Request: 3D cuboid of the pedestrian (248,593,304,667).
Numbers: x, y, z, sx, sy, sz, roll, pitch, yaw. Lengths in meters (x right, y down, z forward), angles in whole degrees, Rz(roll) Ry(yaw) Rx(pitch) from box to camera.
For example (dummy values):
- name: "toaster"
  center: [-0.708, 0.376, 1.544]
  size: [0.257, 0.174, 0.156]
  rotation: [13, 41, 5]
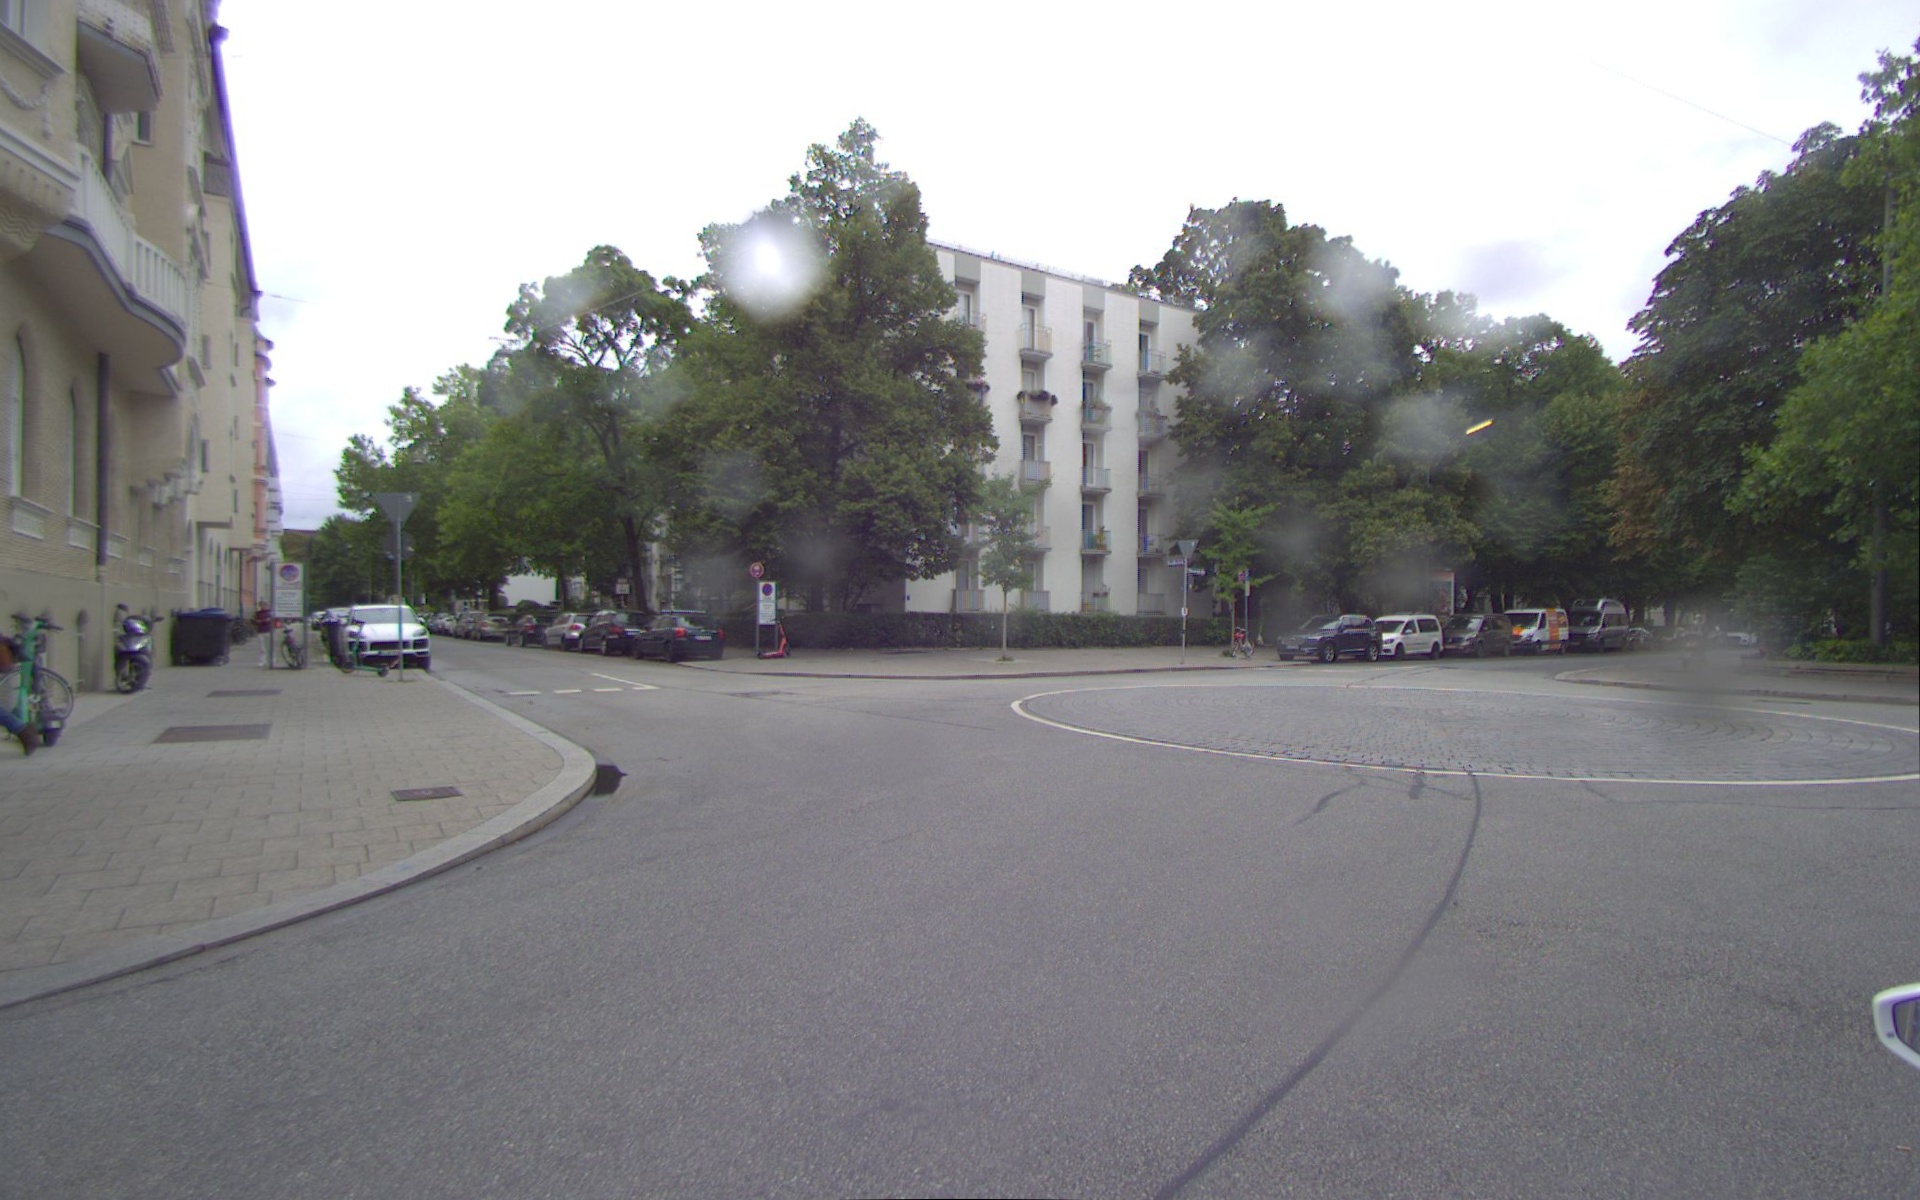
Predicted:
- name: "pedestrian"
  center: [-17.413, 0.740, 25.611]
  size: [1.120, 1.829, 1.260]
  rotation: [1, 0, -33]

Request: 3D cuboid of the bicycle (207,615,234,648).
- name: "bicycle"
  center: [-24.748, 1.039, 33.628]
  size: [0.618, 1.060, 2.194]
  rotation: [1, -1, -34]

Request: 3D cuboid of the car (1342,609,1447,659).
- name: "car"
  center: [17.664, 1.363, 40.727]
  size: [4.826, 1.920, 1.910]
  rotation: [1, -1, -39]

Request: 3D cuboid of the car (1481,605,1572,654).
- name: "car"
  center: [28.026, 1.452, 49.648]
  size: [5.149, 2.281, 2.095]
  rotation: [1, -1, -38]

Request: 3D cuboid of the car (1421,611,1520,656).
- name: "car"
  center: [22.808, 1.492, 44.831]
  size: [4.942, 1.883, 2.049]
  rotation: [1, -1, -38]

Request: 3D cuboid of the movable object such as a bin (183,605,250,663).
- name: "movable object such as a bin"
  center: [-19.613, 0.881, 26.549]
  size: [1.331, 1.477, 1.284]
  rotation: [1, -1, -33]

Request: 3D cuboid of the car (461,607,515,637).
- name: "car"
  center: [-24.780, 1.138, 52.723]
  size: [1.760, 1.538, 3.992]
  rotation: [1, -1, -37]

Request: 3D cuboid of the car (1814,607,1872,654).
- name: "car"
  center: [50.290, 1.715, 57.172]
  size: [5.211, 2.592, 2.022]
  rotation: [1, -1, -43]

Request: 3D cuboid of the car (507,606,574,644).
- name: "car"
  center: [-18.262, 1.054, 43.640]
  size: [1.760, 1.538, 3.992]
  rotation: [1, -1, -37]

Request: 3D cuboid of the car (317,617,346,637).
- name: "car"
  center: [-55.052, 2.350, 87.992]
  size: [1.980, 1.617, 4.172]
  rotation: [1, -1, -34]

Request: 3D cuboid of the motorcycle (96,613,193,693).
- name: "motorcycle"
  center: [-13.355, 0.820, 16.533]
  size: [0.996, 1.195, 2.539]
  rotation: [1, -1, -34]

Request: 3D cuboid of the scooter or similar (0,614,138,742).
- name: "scooter or similar"
  center: [-8.756, 0.730, 9.662]
  size: [1.328, 1.181, 0.529]
  rotation: [0, 0, 7]

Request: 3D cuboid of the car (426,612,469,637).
- name: "car"
  center: [-32.955, 1.563, 64.550]
  size: [1.760, 1.538, 3.992]
  rotation: [1, -1, -37]

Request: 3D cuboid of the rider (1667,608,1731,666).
- name: "rider"
  center: [21.892, 1.101, 29.762]
  size: [1.124, 1.689, 1.079]
  rotation: [1, -3, -25]

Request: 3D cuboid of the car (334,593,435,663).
- name: "car"
  center: [-15.577, 0.721, 27.071]
  size: [1.980, 1.714, 4.764]
  rotation: [1, -1, -34]

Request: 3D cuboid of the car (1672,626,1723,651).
- name: "car"
  center: [50.007, 2.574, 68.086]
  size: [4.039, 1.592, 1.880]
  rotation: [1, -1, -39]

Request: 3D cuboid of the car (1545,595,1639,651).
- name: "car"
  center: [35.054, 1.268, 55.633]
  size: [6.520, 2.961, 2.317]
  rotation: [1, -1, -38]

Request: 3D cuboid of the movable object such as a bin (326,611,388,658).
- name: "movable object such as a bin"
  center: [-18.239, 1.023, 30.379]
  size: [1.545, 1.367, 1.524]
  rotation: [1, -1, -33]

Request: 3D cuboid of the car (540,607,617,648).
- name: "car"
  center: [-14.967, 1.044, 39.299]
  size: [1.760, 1.538, 3.992]
  rotation: [1, -1, -37]

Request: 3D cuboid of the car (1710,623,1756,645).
- name: "car"
  center: [58.309, 2.575, 75.747]
  size: [4.039, 1.592, 1.880]
  rotation: [1, -1, -39]

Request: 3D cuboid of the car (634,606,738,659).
- name: "car"
  center: [-8.663, 0.978, 31.551]
  size: [1.760, 1.538, 3.992]
  rotation: [1, -1, -37]

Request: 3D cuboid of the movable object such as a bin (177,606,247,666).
- name: "movable object such as a bin"
  center: [-18.920, 0.894, 25.439]
  size: [1.331, 1.477, 1.152]
  rotation: [1, -1, -34]

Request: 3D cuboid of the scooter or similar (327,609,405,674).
- name: "scooter or similar"
  center: [-13.381, 0.920, 22.648]
  size: [1.328, 1.413, 0.709]
  rotation: [0, 0, 7]

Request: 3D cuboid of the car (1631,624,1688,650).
- name: "car"
  center: [43.566, 2.272, 62.531]
  size: [4.039, 1.558, 1.880]
  rotation: [1, -1, -39]

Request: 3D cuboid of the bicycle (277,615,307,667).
- name: "bicycle"
  center: [-15.967, 0.959, 23.987]
  size: [0.545, 1.165, 1.827]
  rotation: [1, -1, -35]

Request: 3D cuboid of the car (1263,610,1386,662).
- name: "car"
  center: [13.548, 1.315, 37.230]
  size: [4.863, 1.790, 2.049]
  rotation: [1, -1, -38]

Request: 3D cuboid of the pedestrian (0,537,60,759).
- name: "pedestrian"
  center: [-8.357, 0.396, 8.471]
  size: [0.878, 1.834, 1.051]
  rotation: [0, -1, 42]

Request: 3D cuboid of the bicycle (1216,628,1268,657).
- name: "bicycle"
  center: [10.707, 1.605, 38.060]
  size: [1.953, 1.065, 0.904]
  rotation: [2, -1, -37]

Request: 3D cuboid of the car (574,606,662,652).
- name: "car"
  center: [-12.146, 0.997, 35.504]
  size: [1.760, 1.538, 3.992]
  rotation: [1, -1, -37]

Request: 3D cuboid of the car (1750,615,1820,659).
- name: "car"
  center: [38.510, 1.686, 46.863]
  size: [4.416, 1.948, 2.021]
  rotation: [1, -1, -44]

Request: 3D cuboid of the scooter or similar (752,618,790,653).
- name: "scooter or similar"
  center: [-5.711, 1.077, 30.370]
  size: [0.374, 1.039, 1.135]
  rotation: [0, -1, 43]

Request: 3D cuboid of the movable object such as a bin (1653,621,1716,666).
- name: "movable object such as a bin"
  center: [21.229, 1.287, 29.432]
  size: [1.072, 1.284, 1.075]
  rotation: [1, -3, -25]

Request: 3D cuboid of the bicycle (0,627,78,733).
- name: "bicycle"
  center: [-10.054, 0.822, 10.825]
  size: [0.554, 1.036, 1.866]
  rotation: [1, -1, -33]
